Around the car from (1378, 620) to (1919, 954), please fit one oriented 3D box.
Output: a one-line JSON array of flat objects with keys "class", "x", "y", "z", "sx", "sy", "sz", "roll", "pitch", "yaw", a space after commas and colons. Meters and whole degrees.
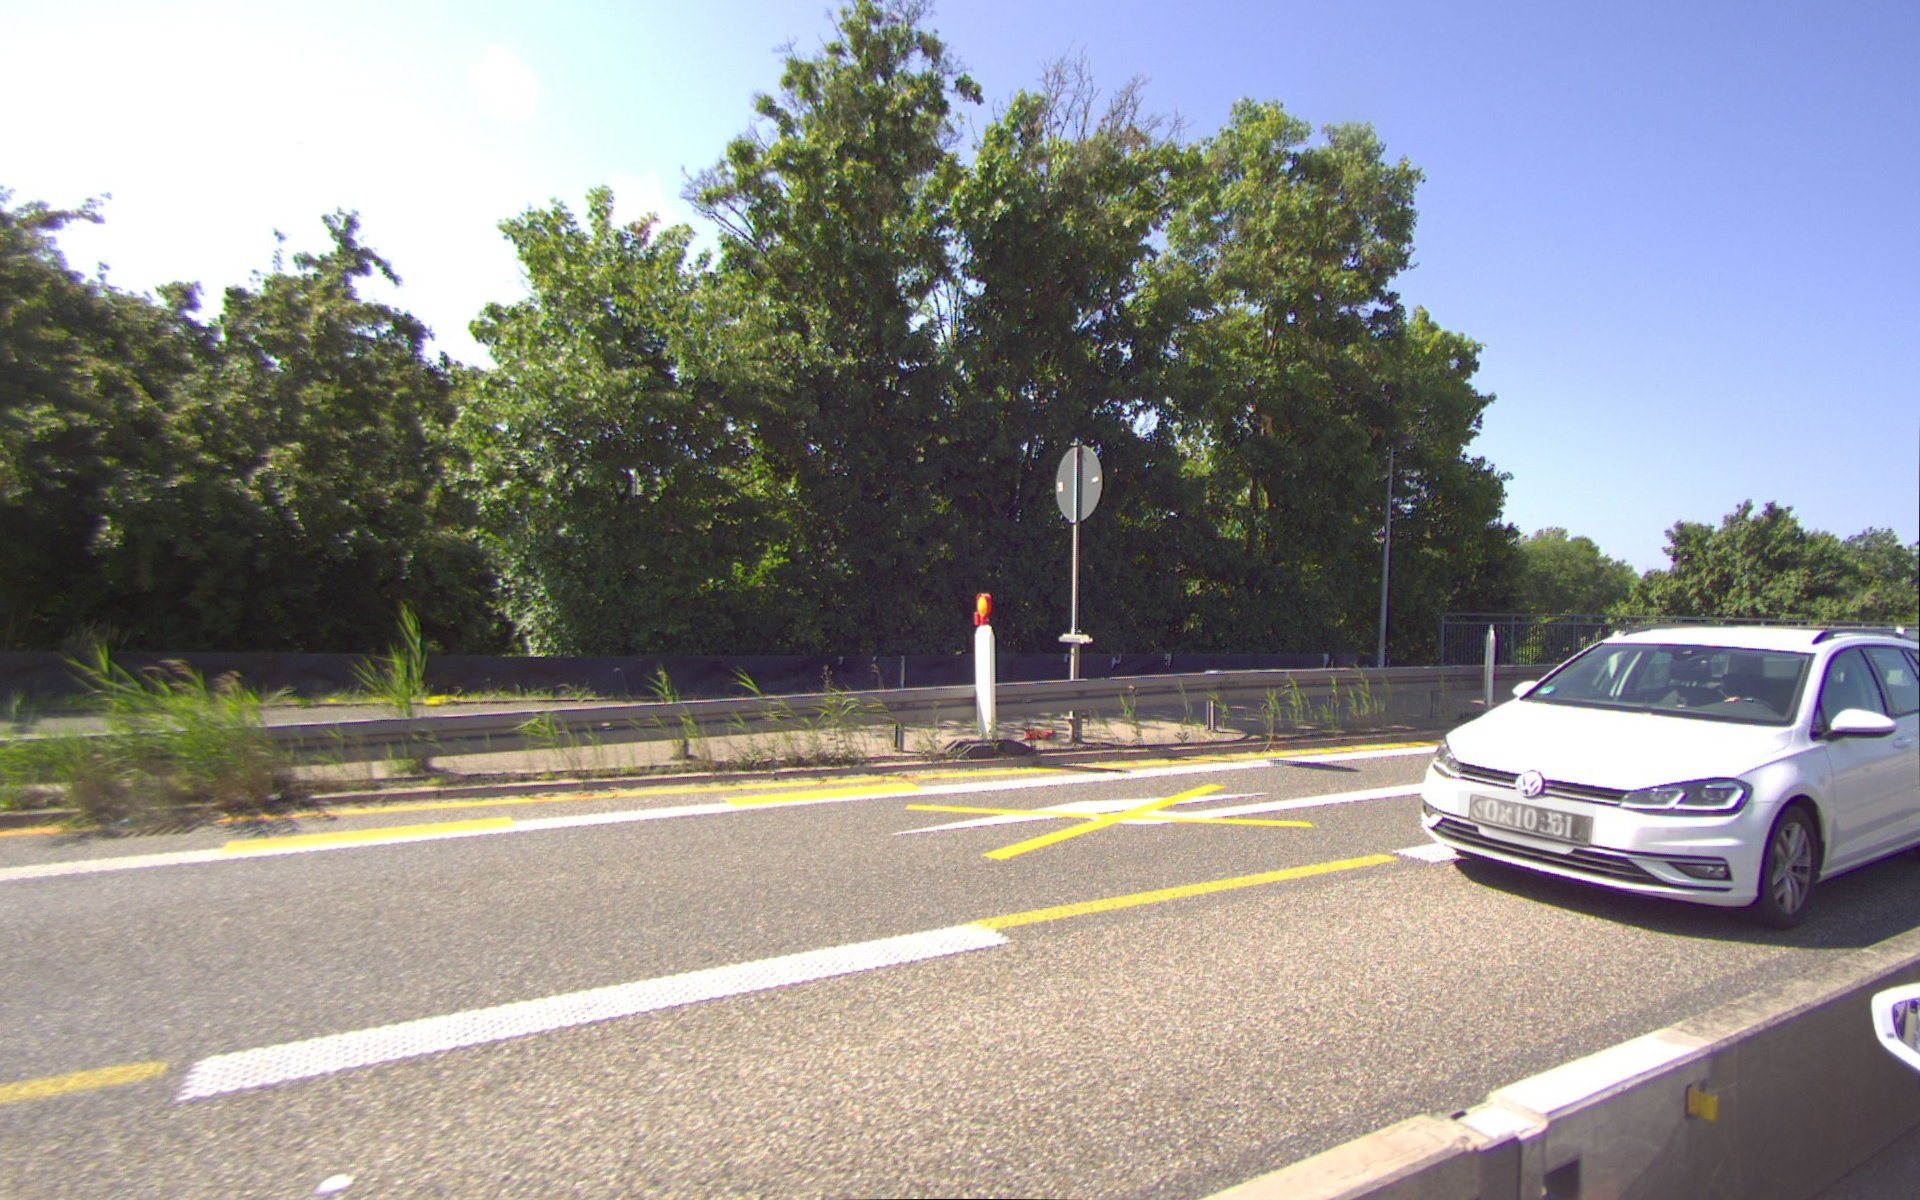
[{"class": "car", "x": 4.716, "y": 0.880, "z": 6.289, "sx": 4.105, "sy": 1.436, "sz": 1.805, "roll": 1, "pitch": 0, "yaw": -31}]
